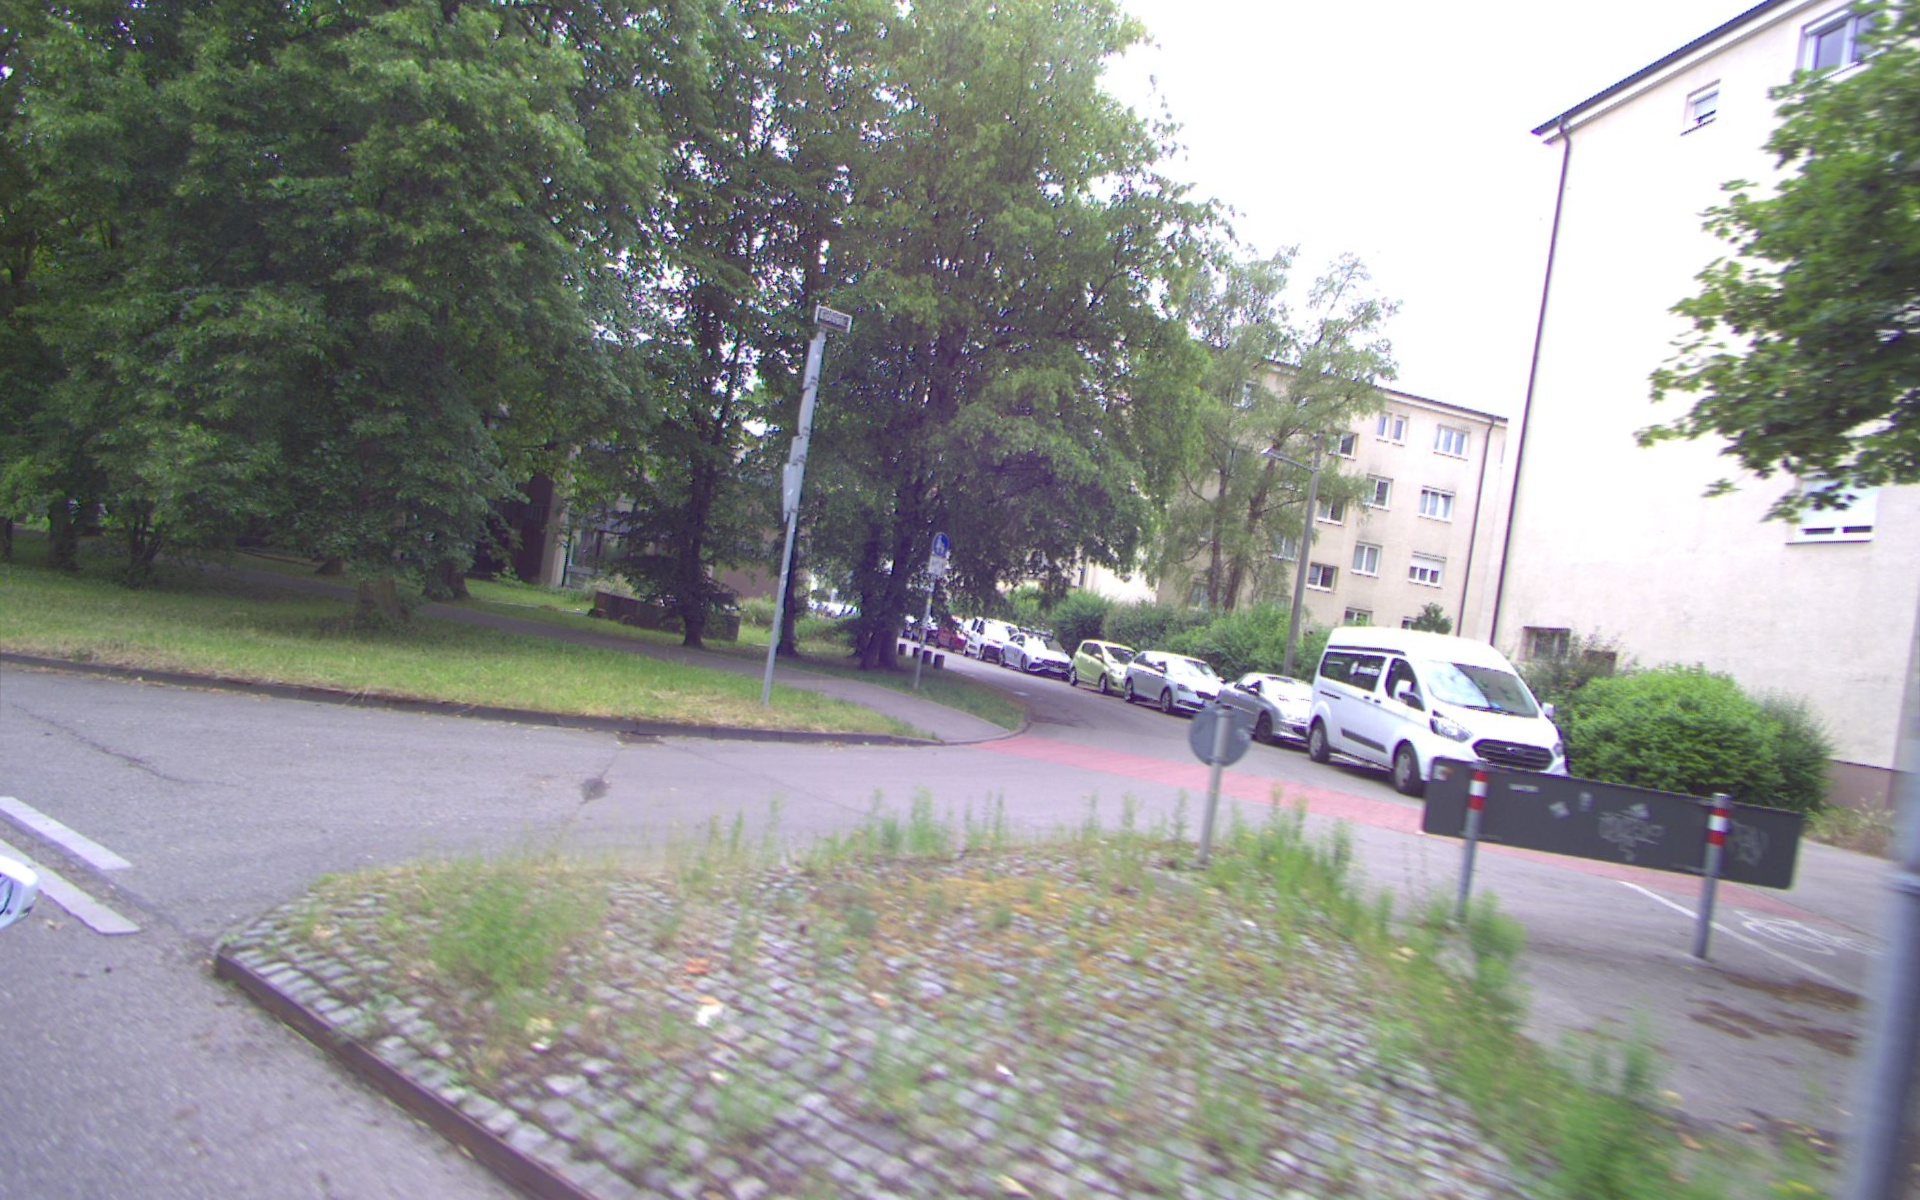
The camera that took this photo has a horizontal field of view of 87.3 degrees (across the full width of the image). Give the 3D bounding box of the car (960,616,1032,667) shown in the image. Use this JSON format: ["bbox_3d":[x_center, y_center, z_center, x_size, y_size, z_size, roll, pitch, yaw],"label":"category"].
[{"bbox_3d":[1.444,1.705,42.126,1.773,1.694,3.989,8,-1,-15],"label":"car"}]

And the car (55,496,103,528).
[{"bbox_3d":[-64.121,-6.416,73.179,4.900,1.866,2.082,8,1,43],"label":"car"}]

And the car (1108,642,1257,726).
[{"bbox_3d":[5.575,2.083,25.882,1.772,1.528,4.593,8,-1,-13],"label":"car"}]

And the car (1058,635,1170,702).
[{"bbox_3d":[4.607,2.036,30.705,1.773,1.528,3.988,8,-1,-15],"label":"car"}]

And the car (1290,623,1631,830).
[{"bbox_3d":[7.243,1.672,15.459,2.251,2.326,5.327,8,-1,-1],"label":"car"}]

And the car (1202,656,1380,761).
[{"bbox_3d":[6.608,2.116,20.583,1.769,1.528,3.996,8,-1,-7],"label":"car"}]

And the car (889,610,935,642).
[{"bbox_3d":[-2.912,1.534,60.196,1.773,1.528,3.989,8,-1,-15],"label":"car"}]

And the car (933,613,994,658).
[{"bbox_3d":[0.097,1.661,48.105,1.773,1.694,3.989,8,-1,-15],"label":"car"}]

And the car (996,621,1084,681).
[{"bbox_3d":[2.840,1.791,36.436,1.773,1.694,3.989,8,-1,-15],"label":"car"}]

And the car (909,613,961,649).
[{"bbox_3d":[-1.385,1.641,54.297,1.773,1.528,3.989,8,-1,-15],"label":"car"}]
